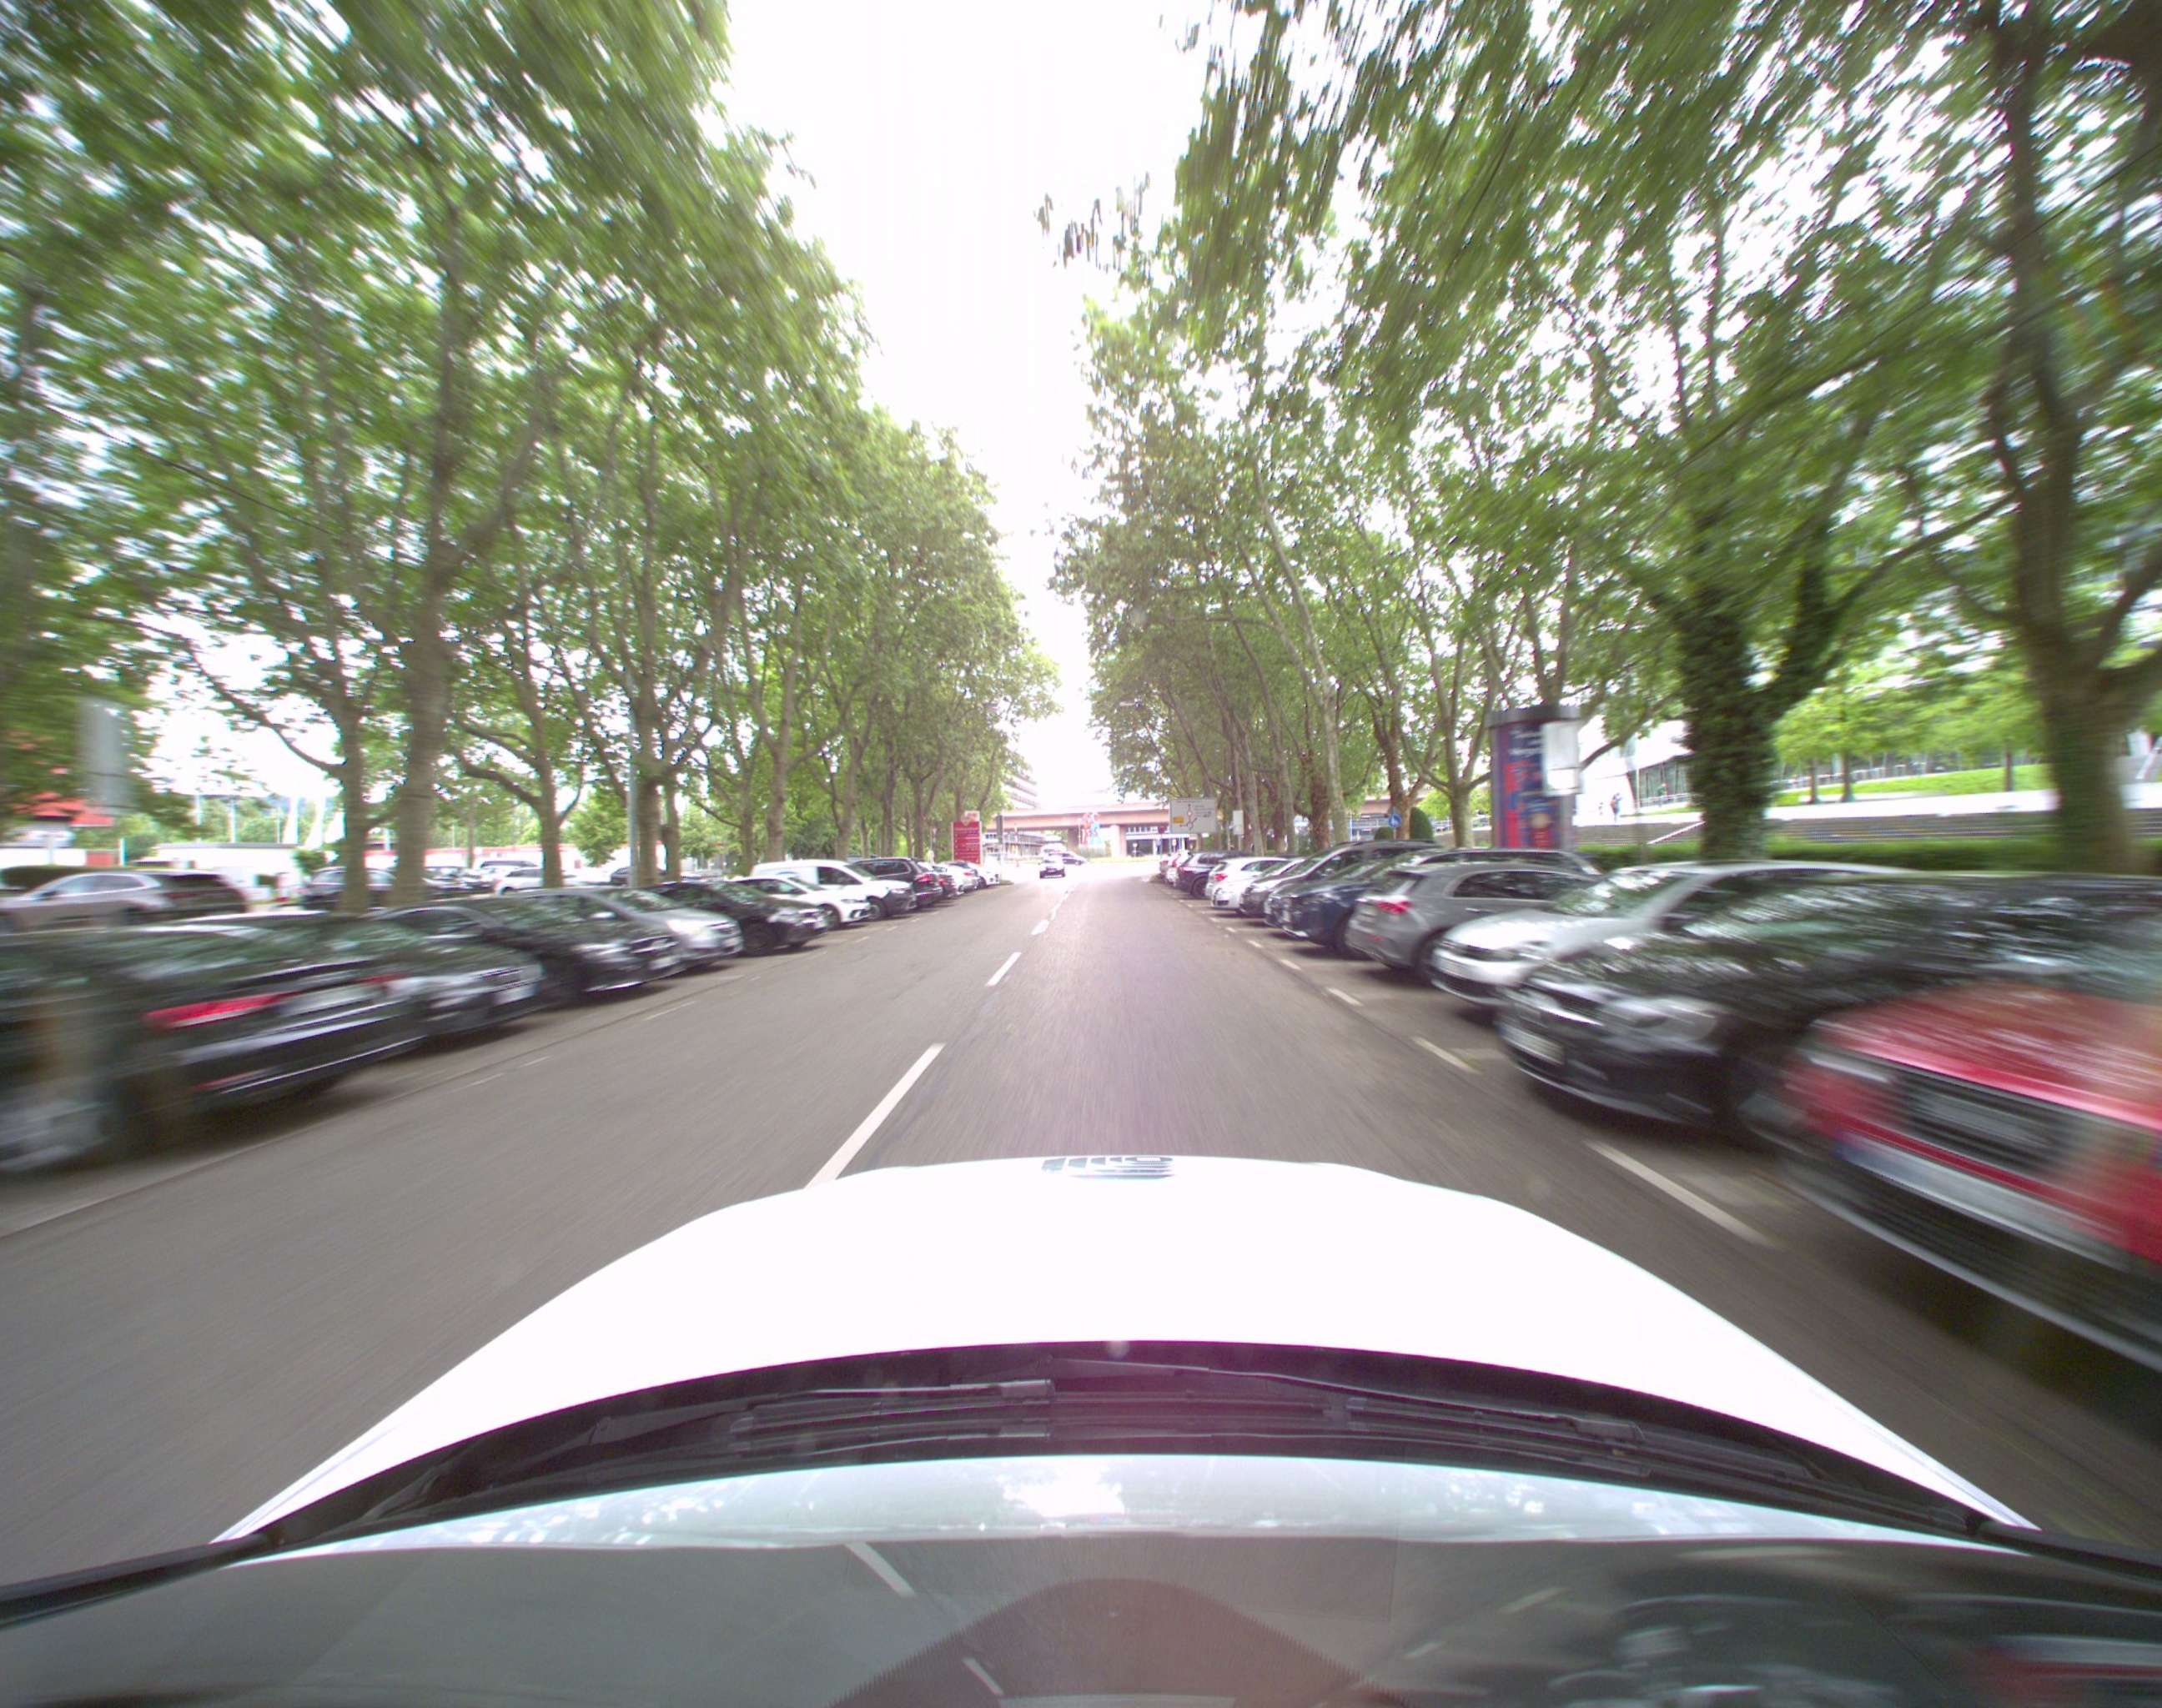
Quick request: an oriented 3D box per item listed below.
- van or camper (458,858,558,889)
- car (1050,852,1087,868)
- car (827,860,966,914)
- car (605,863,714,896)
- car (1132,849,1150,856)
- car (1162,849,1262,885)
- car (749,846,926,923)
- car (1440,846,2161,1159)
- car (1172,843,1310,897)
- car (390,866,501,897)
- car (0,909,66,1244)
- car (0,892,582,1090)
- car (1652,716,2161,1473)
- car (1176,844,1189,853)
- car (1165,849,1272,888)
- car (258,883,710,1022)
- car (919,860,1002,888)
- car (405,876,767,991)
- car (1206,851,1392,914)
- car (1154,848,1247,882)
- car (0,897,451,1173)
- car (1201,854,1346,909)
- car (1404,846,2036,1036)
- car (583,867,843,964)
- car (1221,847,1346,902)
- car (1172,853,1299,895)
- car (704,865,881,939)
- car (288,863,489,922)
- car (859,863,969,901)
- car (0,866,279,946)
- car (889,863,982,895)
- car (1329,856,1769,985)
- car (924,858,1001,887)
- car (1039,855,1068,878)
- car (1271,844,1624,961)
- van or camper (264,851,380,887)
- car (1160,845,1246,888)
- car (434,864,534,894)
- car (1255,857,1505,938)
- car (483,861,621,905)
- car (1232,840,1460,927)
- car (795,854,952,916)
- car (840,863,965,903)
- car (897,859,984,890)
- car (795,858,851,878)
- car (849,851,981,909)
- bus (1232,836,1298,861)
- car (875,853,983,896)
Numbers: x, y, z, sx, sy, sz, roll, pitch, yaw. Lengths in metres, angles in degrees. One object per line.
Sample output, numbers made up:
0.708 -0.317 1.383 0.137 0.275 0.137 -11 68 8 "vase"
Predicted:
-33.595 1.105 47.849 4.306 1.709 2.132 -1 -1 0 "van or camper"
-1.710 0.824 112.736 4.740 2.014 2.289 -1 -1 8 "car"
-6.218 1.110 27.825 4.112 1.452 2.015 -4 0 3 "car"
-21.252 1.255 41.209 4.306 1.548 2.203 -1 -1 0 "car"
13.950 -0.371 189.288 1.974 1.772 4.024 -1 -1 42 "car"
5.960 0.589 37.388 4.330 1.605 1.926 0 0 1 "car"
-6.733 0.815 22.875 4.307 1.810 1.866 -3 0 -3 "car"
4.807 0.706 5.083 4.338 1.502 1.923 0 0 -5 "car"
5.352 0.537 27.631 4.332 1.761 1.925 0 0 0 "car"
-33.567 1.423 43.127 4.306 1.548 1.959 -1 -1 0 "car"
-7.104 1.131 3.005 4.449 1.482 1.703 -3 0 -1 "car"
-7.781 1.255 8.041 4.449 1.366 1.859 -4 0 -1 "car"
4.798 0.555 2.673 4.482 1.796 2.047 0 0 -1 "car"
22.215 -1.161 178.152 1.977 2.014 4.019 -1 -1 19 "car"
5.840 0.608 34.981 4.330 1.633 1.926 0 0 1 "car"
-7.523 1.203 10.591 4.445 1.347 1.903 -3 0 3 "car"
-6.310 1.048 43.030 3.975 1.385 1.914 -1 -1 4 "car"
-7.566 1.185 12.787 4.448 1.369 1.880 -3 0 0 "car"
5.241 0.673 19.965 4.133 1.458 1.728 0 0 1 "car"
5.813 0.531 40.011 4.330 1.633 1.926 0 0 1 "car"
-6.888 1.142 5.441 3.918 1.398 1.703 -3 0 -1 "car"
5.246 0.722 22.495 3.630 1.427 1.664 0 0 -2 "car"
5.492 0.689 7.476 4.331 1.502 1.926 0 0 0 "car"
-6.758 1.102 15.212 3.960 1.421 1.758 -4 0 4 "car"
6.208 0.605 25.192 3.423 1.492 1.680 -3 0 0 "car"
5.637 0.706 30.019 4.332 1.456 1.949 0 0 -1 "car"
-7.028 1.137 20.178 3.782 1.472 1.759 -3 0 -10 "car"
-22.340 1.197 26.431 4.503 1.762 2.296 -1 -1 0 "car"
-6.640 1.116 32.736 3.974 1.404 1.885 -1 -1 0 "car"
-22.609 1.197 19.478 4.536 1.725 2.296 -1 -1 0 "car"
-6.765 1.158 38.104 3.973 1.405 1.862 -1 -1 1 "car"
5.485 0.744 10.013 4.330 1.413 1.926 0 0 1 "car"
-6.574 1.038 45.447 3.977 1.540 1.806 -1 -1 2 "car"
-1.903 0.862 57.487 1.836 1.510 4.014 -1 0 0 "car"
5.355 0.672 12.408 4.572 1.639 1.874 0 0 3 "car"
-45.630 0.873 49.163 1.987 2.014 5.303 -1 0 1 "van or camper"
5.946 0.581 39.922 3.972 2.013 2.001 0 0 1 "car"
-33.254 1.384 45.433 4.204 1.548 1.789 -1 -1 0 "car"
5.393 0.764 15.059 4.025 1.380 1.744 0 0 1 "car"
-21.948 1.163 33.936 4.306 1.709 2.132 -1 -1 0 "car"
5.568 0.585 17.493 4.333 1.745 1.836 0 0 -1 "car"
-6.383 0.944 25.386 4.301 1.795 2.037 -1 -1 1 "car"
-6.547 1.045 30.256 4.176 1.354 1.966 -1 -1 -1 "car"
-6.933 1.005 40.507 3.979 1.493 1.833 -1 -1 1 "car"
-21.430 1.156 67.776 3.972 1.522 2.002 -1 -1 1 "car"
-6.021 0.923 29.839 4.302 1.810 1.868 -3 0 1 "car"
30.403 -0.963 134.162 11.095 3.934 2.737 -1 -1 -23 "bus"
-6.537 0.873 35.360 4.251 1.548 1.907 -4 -1 -1 "car"
